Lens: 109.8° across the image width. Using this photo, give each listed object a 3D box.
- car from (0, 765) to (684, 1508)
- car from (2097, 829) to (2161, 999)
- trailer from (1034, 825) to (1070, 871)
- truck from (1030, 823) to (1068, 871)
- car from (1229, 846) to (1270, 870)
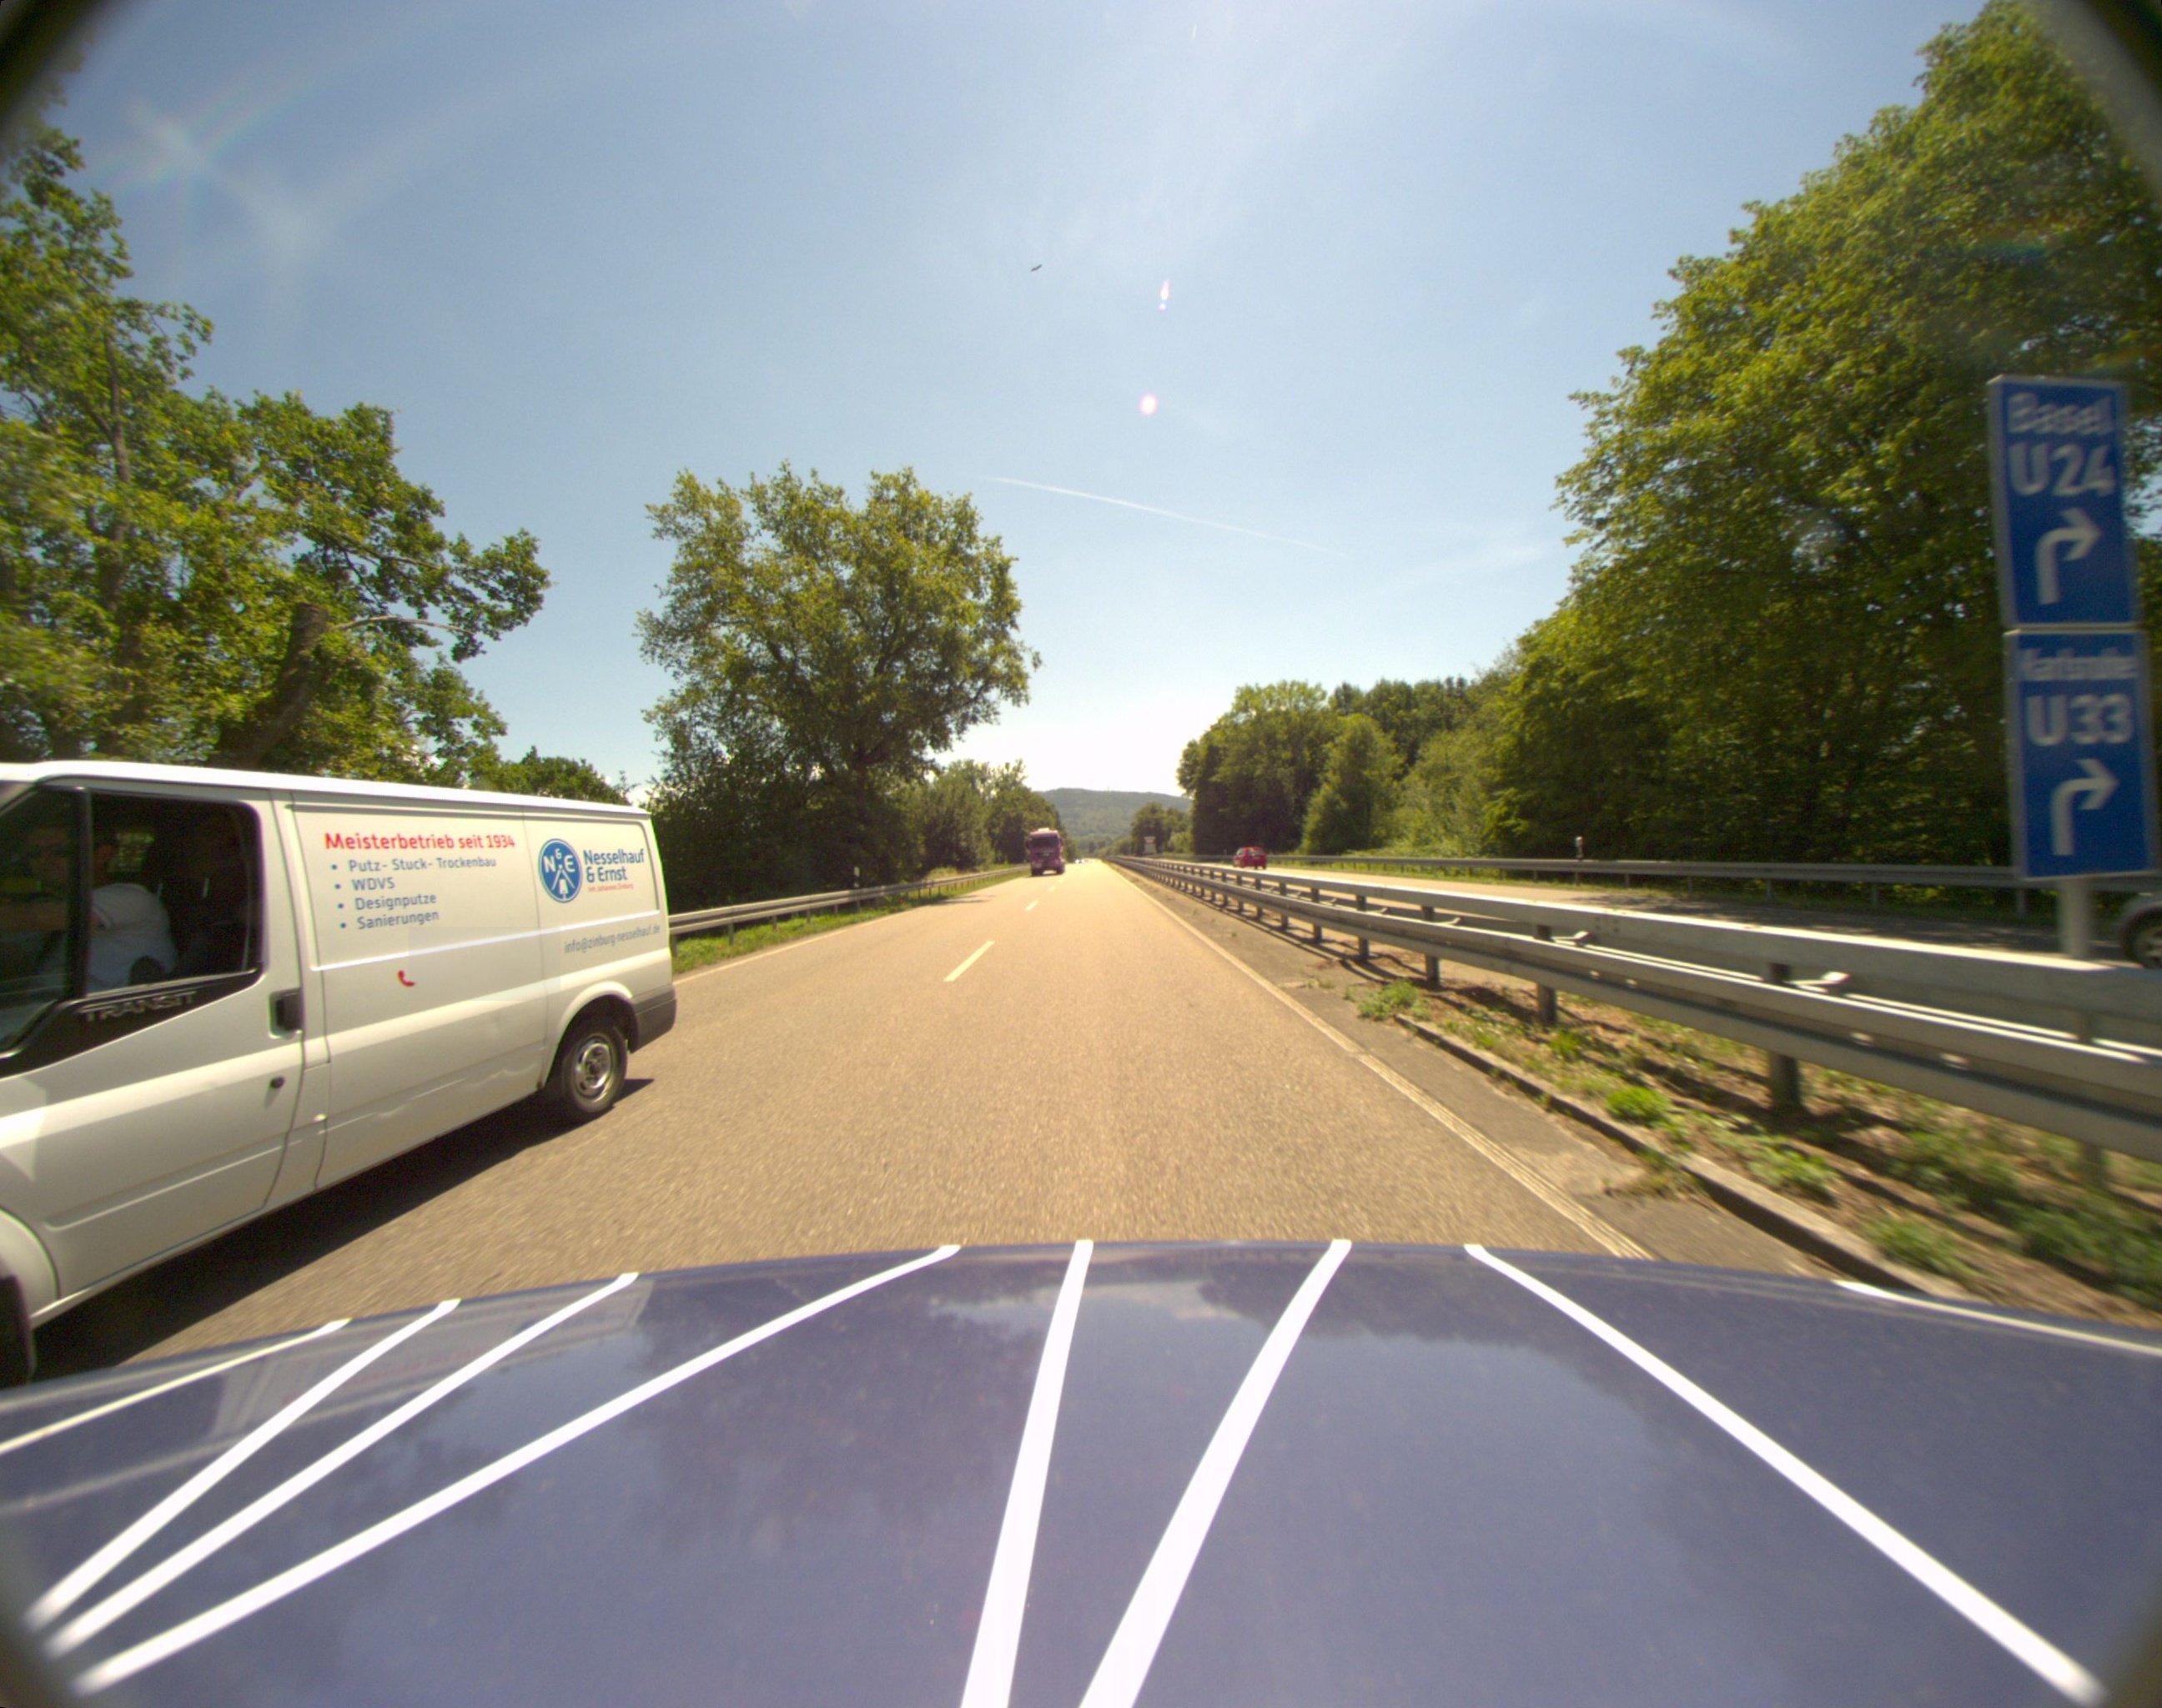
[{"bbox_3d":[-3.916,0.767,3.003,2.011,1.977,5.033,-2,1,-1],"label":"car"},{"bbox_3d":[10.234,0.499,5.100,1.802,1.459,3.773,-3,0,2],"label":"car"},{"bbox_3d":[-2.507,-0.451,68.122,2.605,3.607,8.615,-4,-1,0],"label":"trailer"},{"bbox_3d":[-2.567,-0.526,63.386,2.605,3.669,5.939,-4,-1,0],"label":"truck"},{"bbox_3d":[11.064,0.215,50.121,1.780,1.411,4.575,-3,1,2],"label":"car"}]
